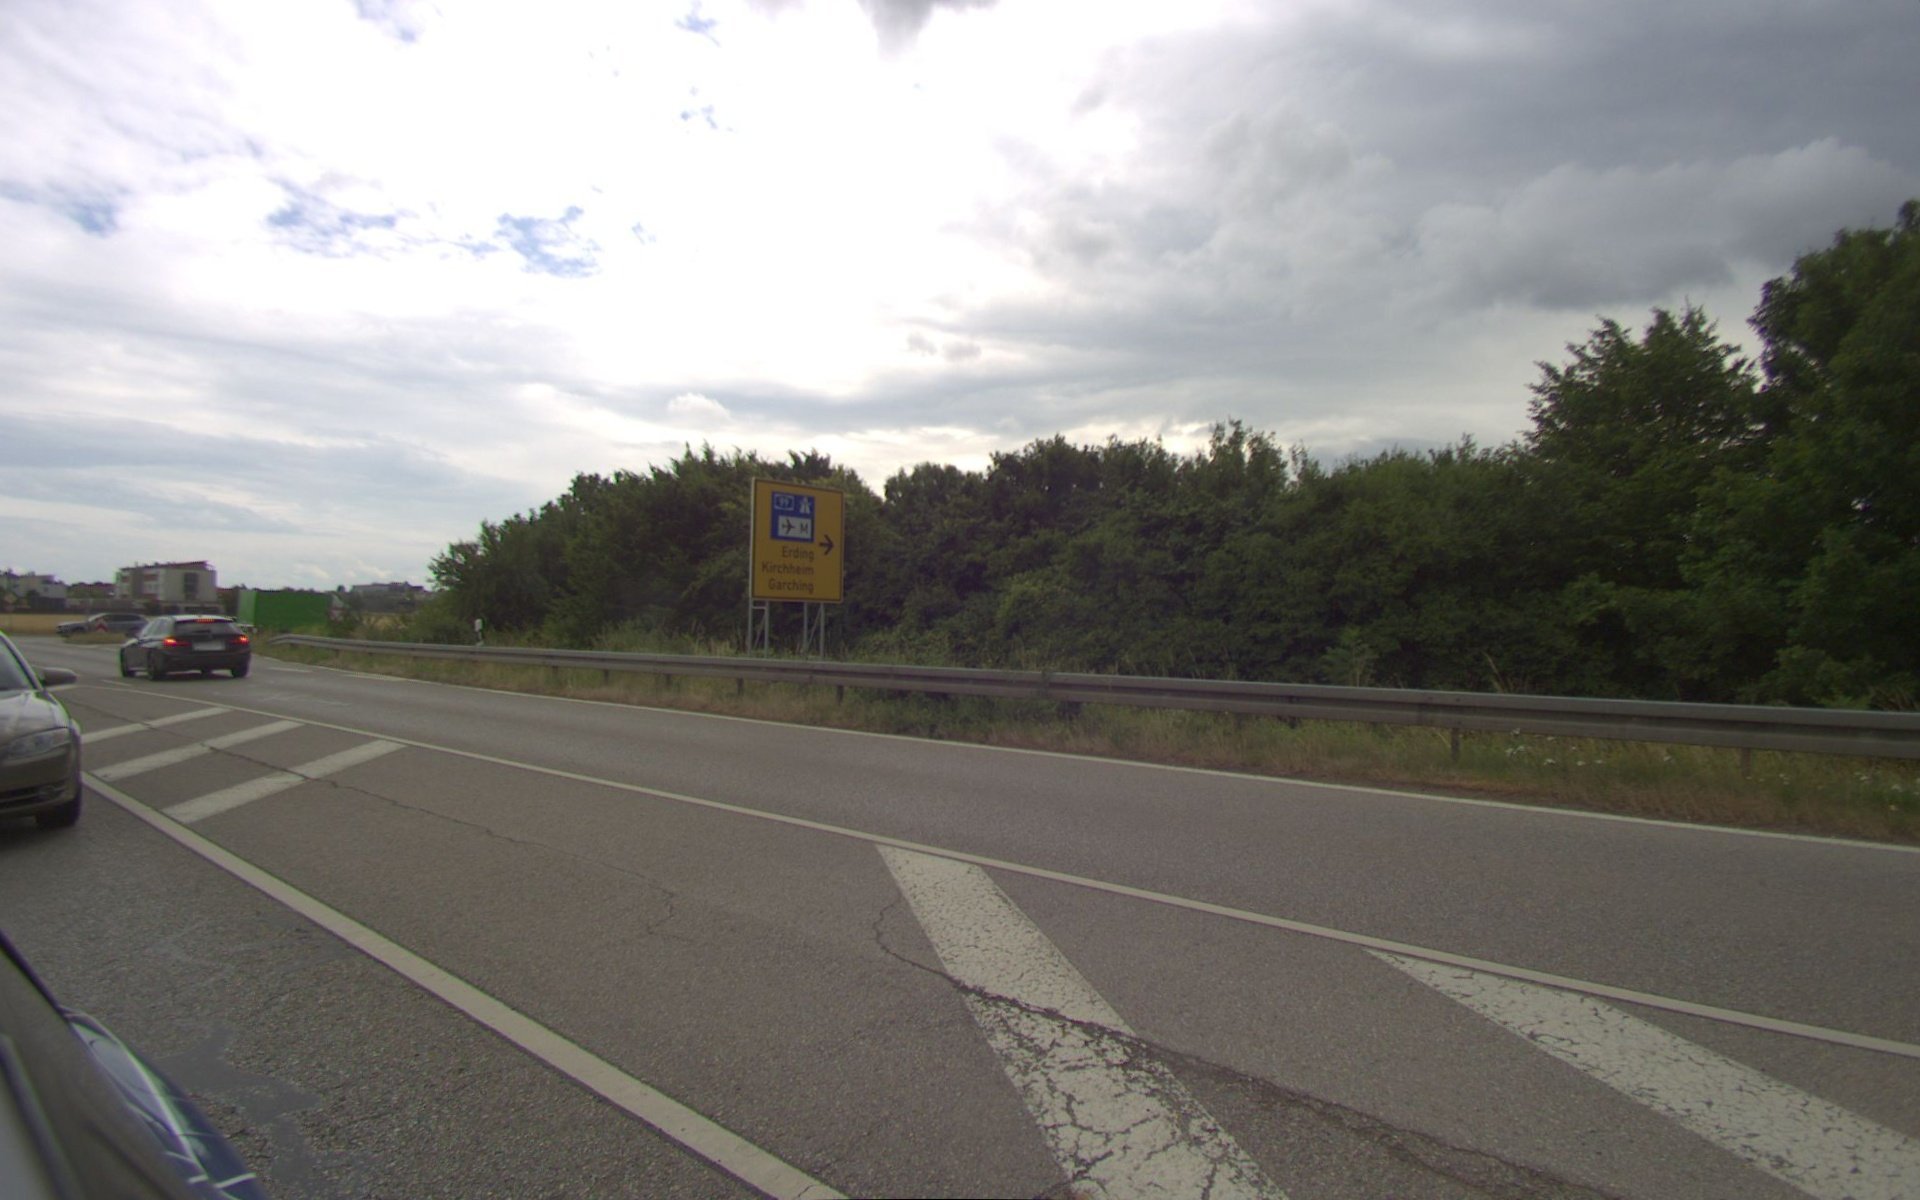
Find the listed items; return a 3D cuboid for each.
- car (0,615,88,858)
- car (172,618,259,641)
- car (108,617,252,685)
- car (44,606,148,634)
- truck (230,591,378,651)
[{"bbox_3d":[-7.643,0.845,7.111,4.202,1.455,1.708,-1,-1,41],"label":"car"},{"bbox_3d":[-50.880,2.014,69.198,4.607,1.510,2.002,1,-1,-42],"label":"car"},{"bbox_3d":[-18.444,1.136,23.872,4.442,1.461,1.781,-1,-1,40],"label":"car"},{"bbox_3d":[-54.968,1.277,64.458,1.997,1.702,4.758,-1,-1,37],"label":"car"},{"bbox_3d":[-42.355,1.263,65.561,2.927,3.589,7.515,-1,0,35],"label":"truck"}]
